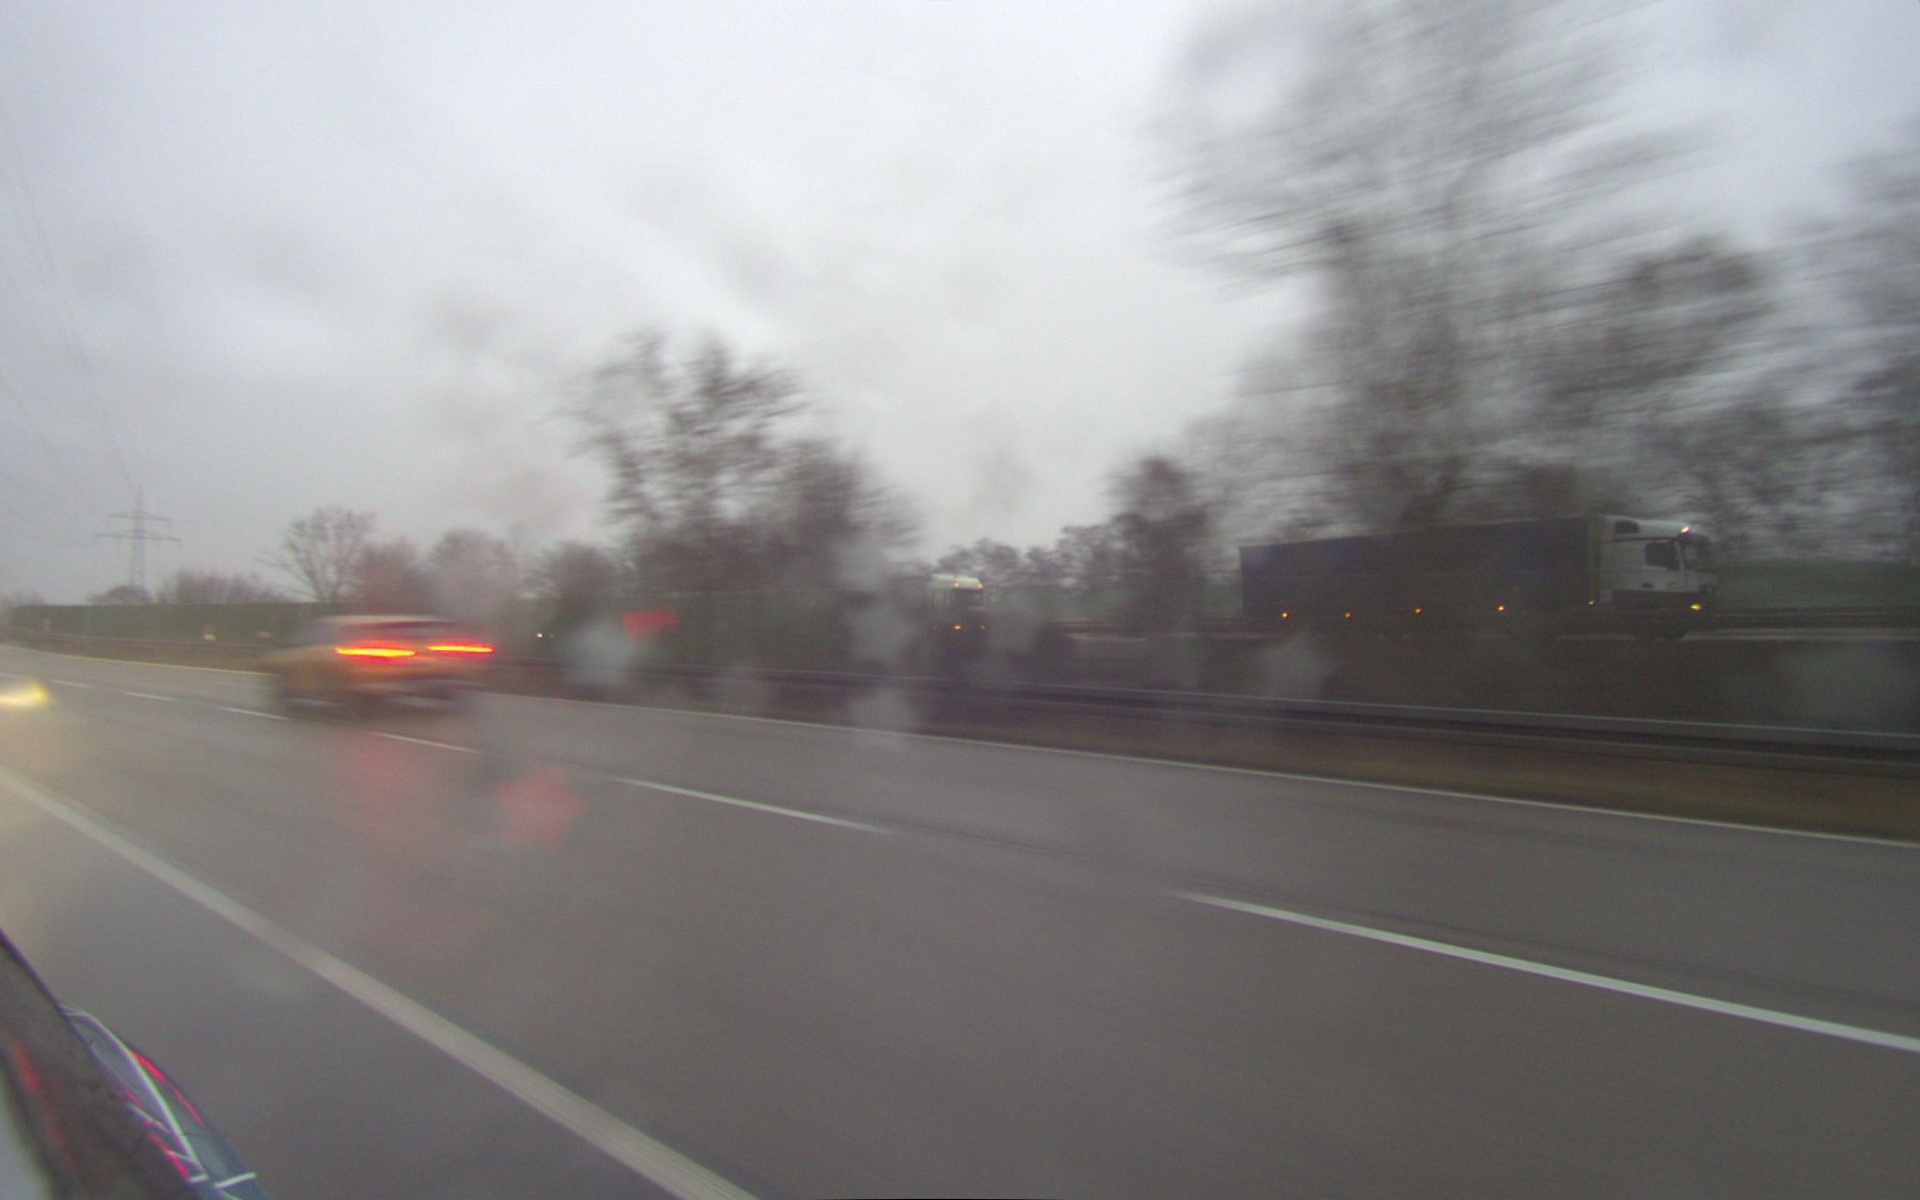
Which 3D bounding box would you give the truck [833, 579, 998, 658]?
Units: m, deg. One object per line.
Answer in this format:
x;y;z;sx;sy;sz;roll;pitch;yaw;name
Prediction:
-3.240;1.127;66.094;3.233;4.645;13.903;2;-1;-38;truck

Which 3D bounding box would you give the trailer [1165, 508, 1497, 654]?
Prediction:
14.663;-0.624;41.914;3.258;5.142;13.259;2;-1;-37;trailer

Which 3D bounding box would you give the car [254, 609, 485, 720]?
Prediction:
-9.407;0.925;15.973;4.520;1.512;1.844;-1;-2;42;car

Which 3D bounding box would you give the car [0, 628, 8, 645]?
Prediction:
-73.243;2.814;75.728;1.573;1.253;4.013;-2;0;-22;car

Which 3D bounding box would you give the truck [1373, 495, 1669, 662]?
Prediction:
19.438;-0.639;35.666;3.233;5.169;8.537;2;-1;-38;truck
